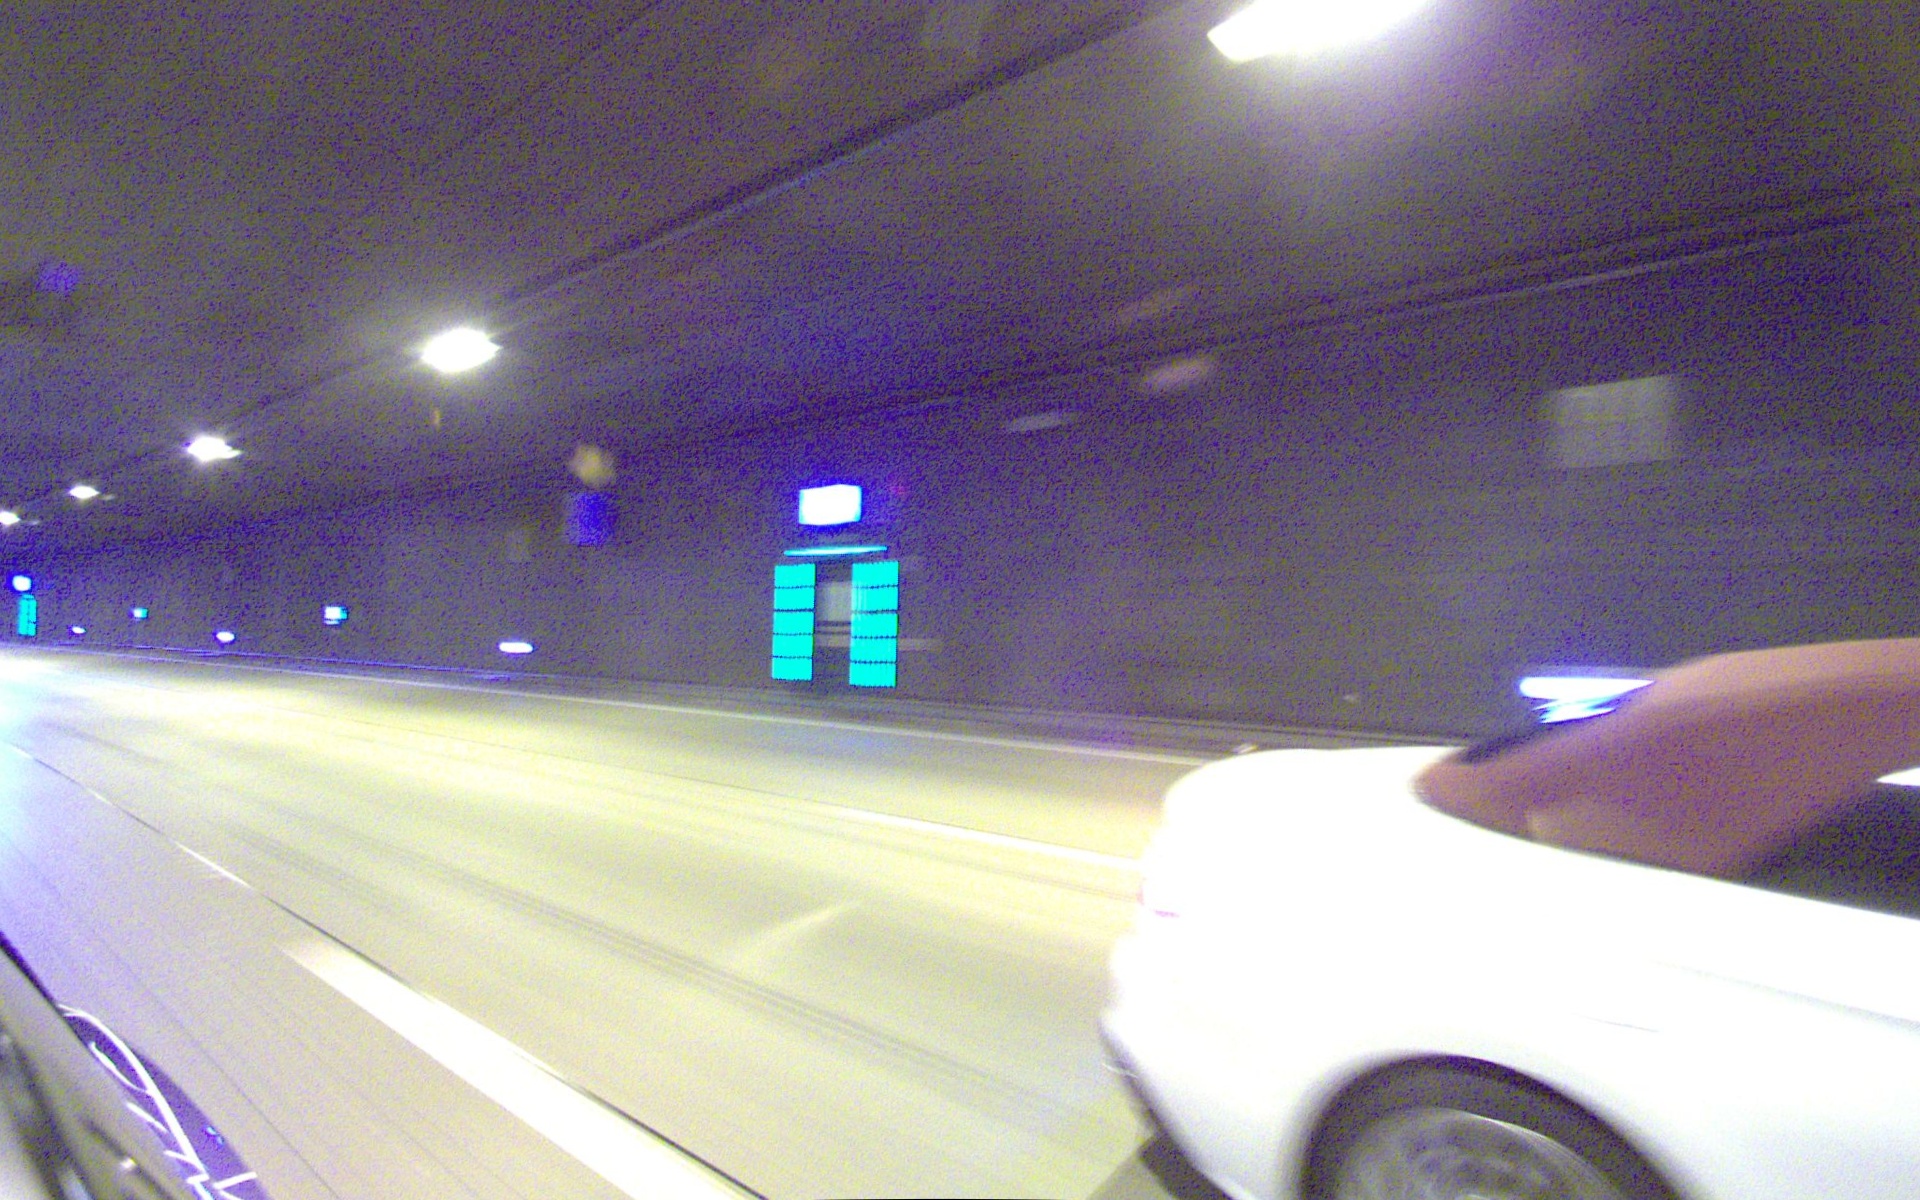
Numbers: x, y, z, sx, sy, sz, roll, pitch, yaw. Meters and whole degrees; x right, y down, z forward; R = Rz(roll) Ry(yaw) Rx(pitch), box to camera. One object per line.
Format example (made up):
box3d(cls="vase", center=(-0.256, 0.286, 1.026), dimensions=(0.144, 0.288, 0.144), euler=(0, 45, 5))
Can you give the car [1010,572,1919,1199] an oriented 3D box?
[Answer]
box3d(cls="car", center=(2.559, 0.678, 1.287), dimensions=(5.057, 1.430, 1.684), euler=(-1, -2, 41))
